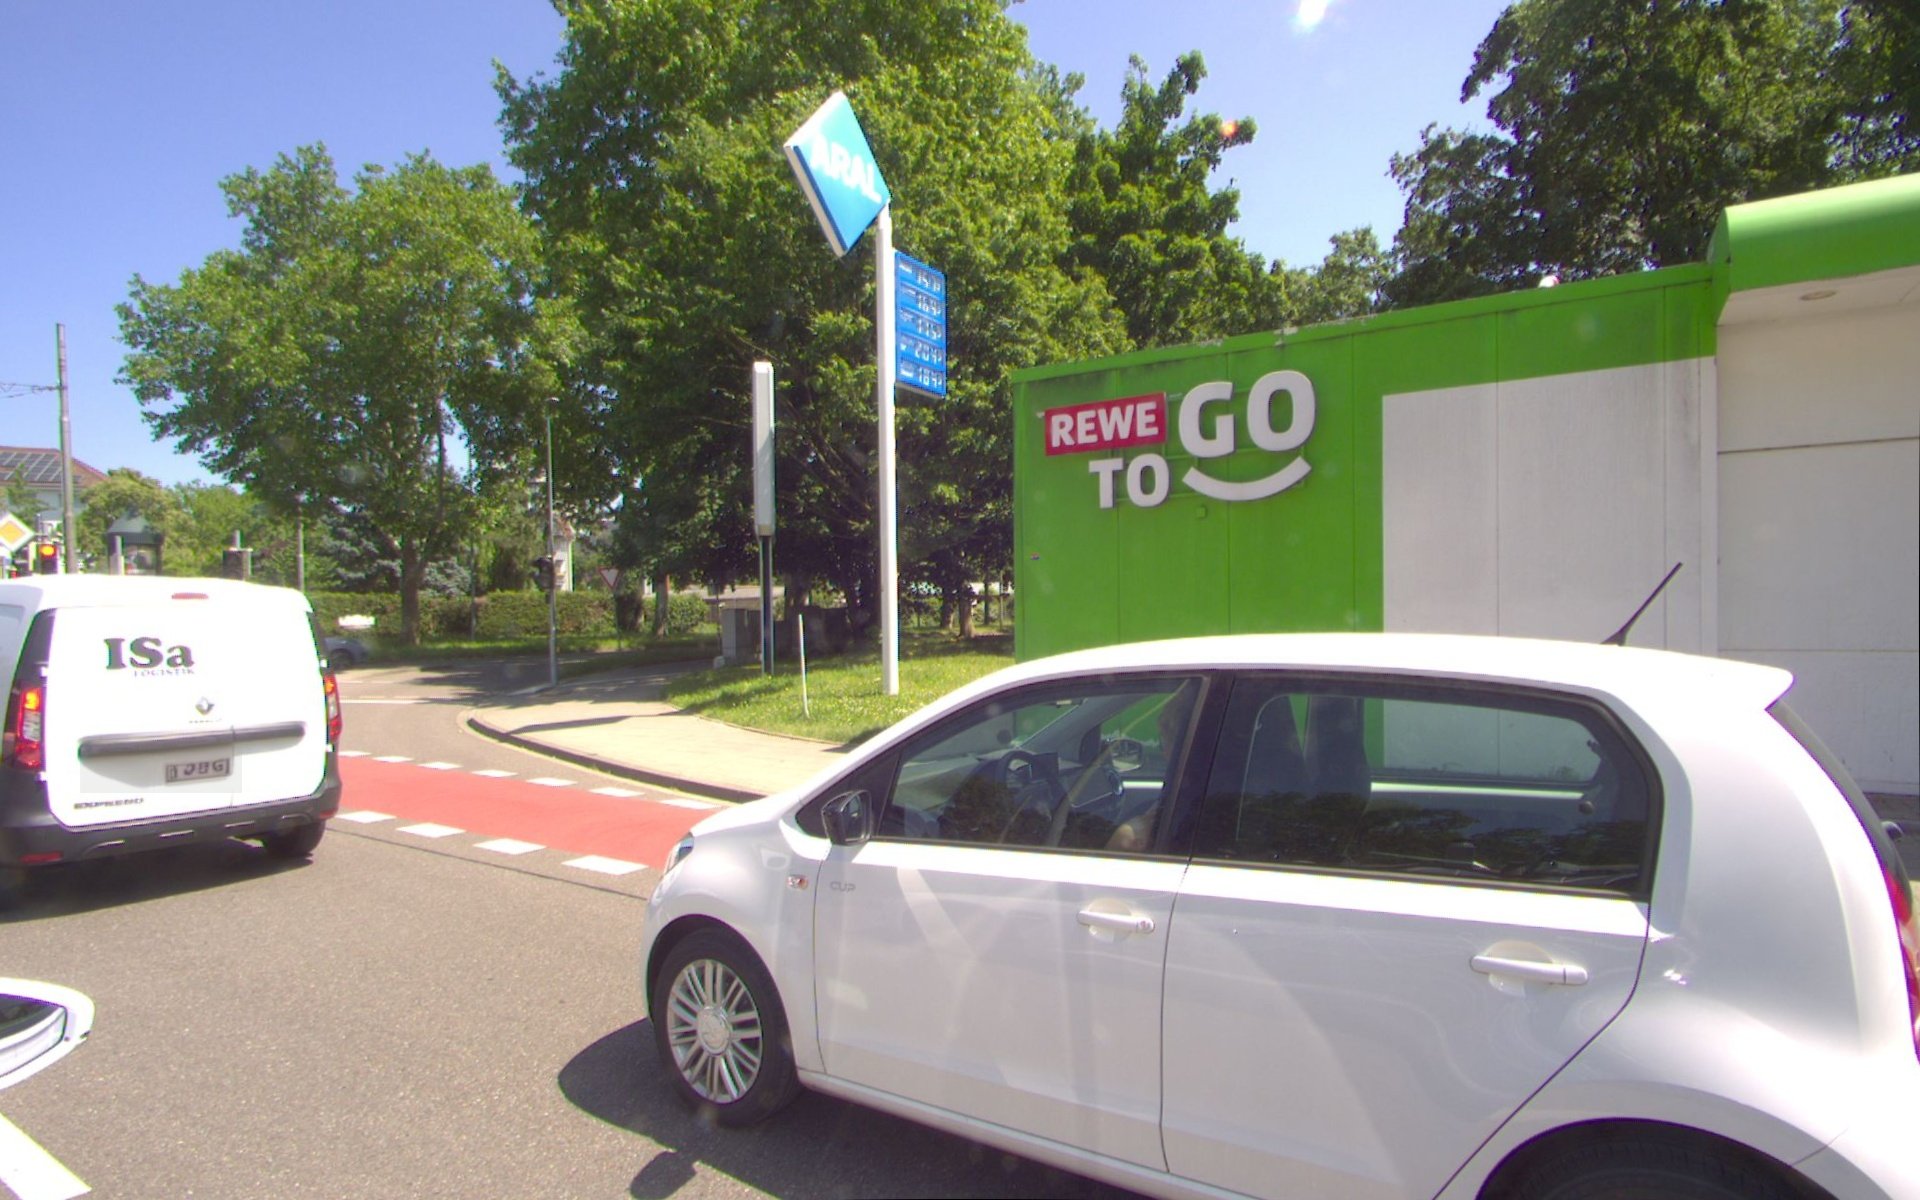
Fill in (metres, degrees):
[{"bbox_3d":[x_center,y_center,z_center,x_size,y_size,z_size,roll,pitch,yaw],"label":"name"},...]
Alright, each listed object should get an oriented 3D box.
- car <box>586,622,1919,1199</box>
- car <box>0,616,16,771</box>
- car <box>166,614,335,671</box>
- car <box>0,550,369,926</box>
[{"bbox_3d":[0.646,0.817,2.994,3.387,1.466,1.606,0,-1,33],"label":"car"},{"bbox_3d":[-11.894,0.942,10.614,3.943,1.589,1.832,0,-1,32],"label":"car"},{"bbox_3d":[-20.664,1.194,29.353,3.947,1.539,1.742,0,-1,-34],"label":"car"},{"bbox_3d":[-5.880,0.722,6.623,4.005,1.811,1.725,-1,-2,31],"label":"car"}]
